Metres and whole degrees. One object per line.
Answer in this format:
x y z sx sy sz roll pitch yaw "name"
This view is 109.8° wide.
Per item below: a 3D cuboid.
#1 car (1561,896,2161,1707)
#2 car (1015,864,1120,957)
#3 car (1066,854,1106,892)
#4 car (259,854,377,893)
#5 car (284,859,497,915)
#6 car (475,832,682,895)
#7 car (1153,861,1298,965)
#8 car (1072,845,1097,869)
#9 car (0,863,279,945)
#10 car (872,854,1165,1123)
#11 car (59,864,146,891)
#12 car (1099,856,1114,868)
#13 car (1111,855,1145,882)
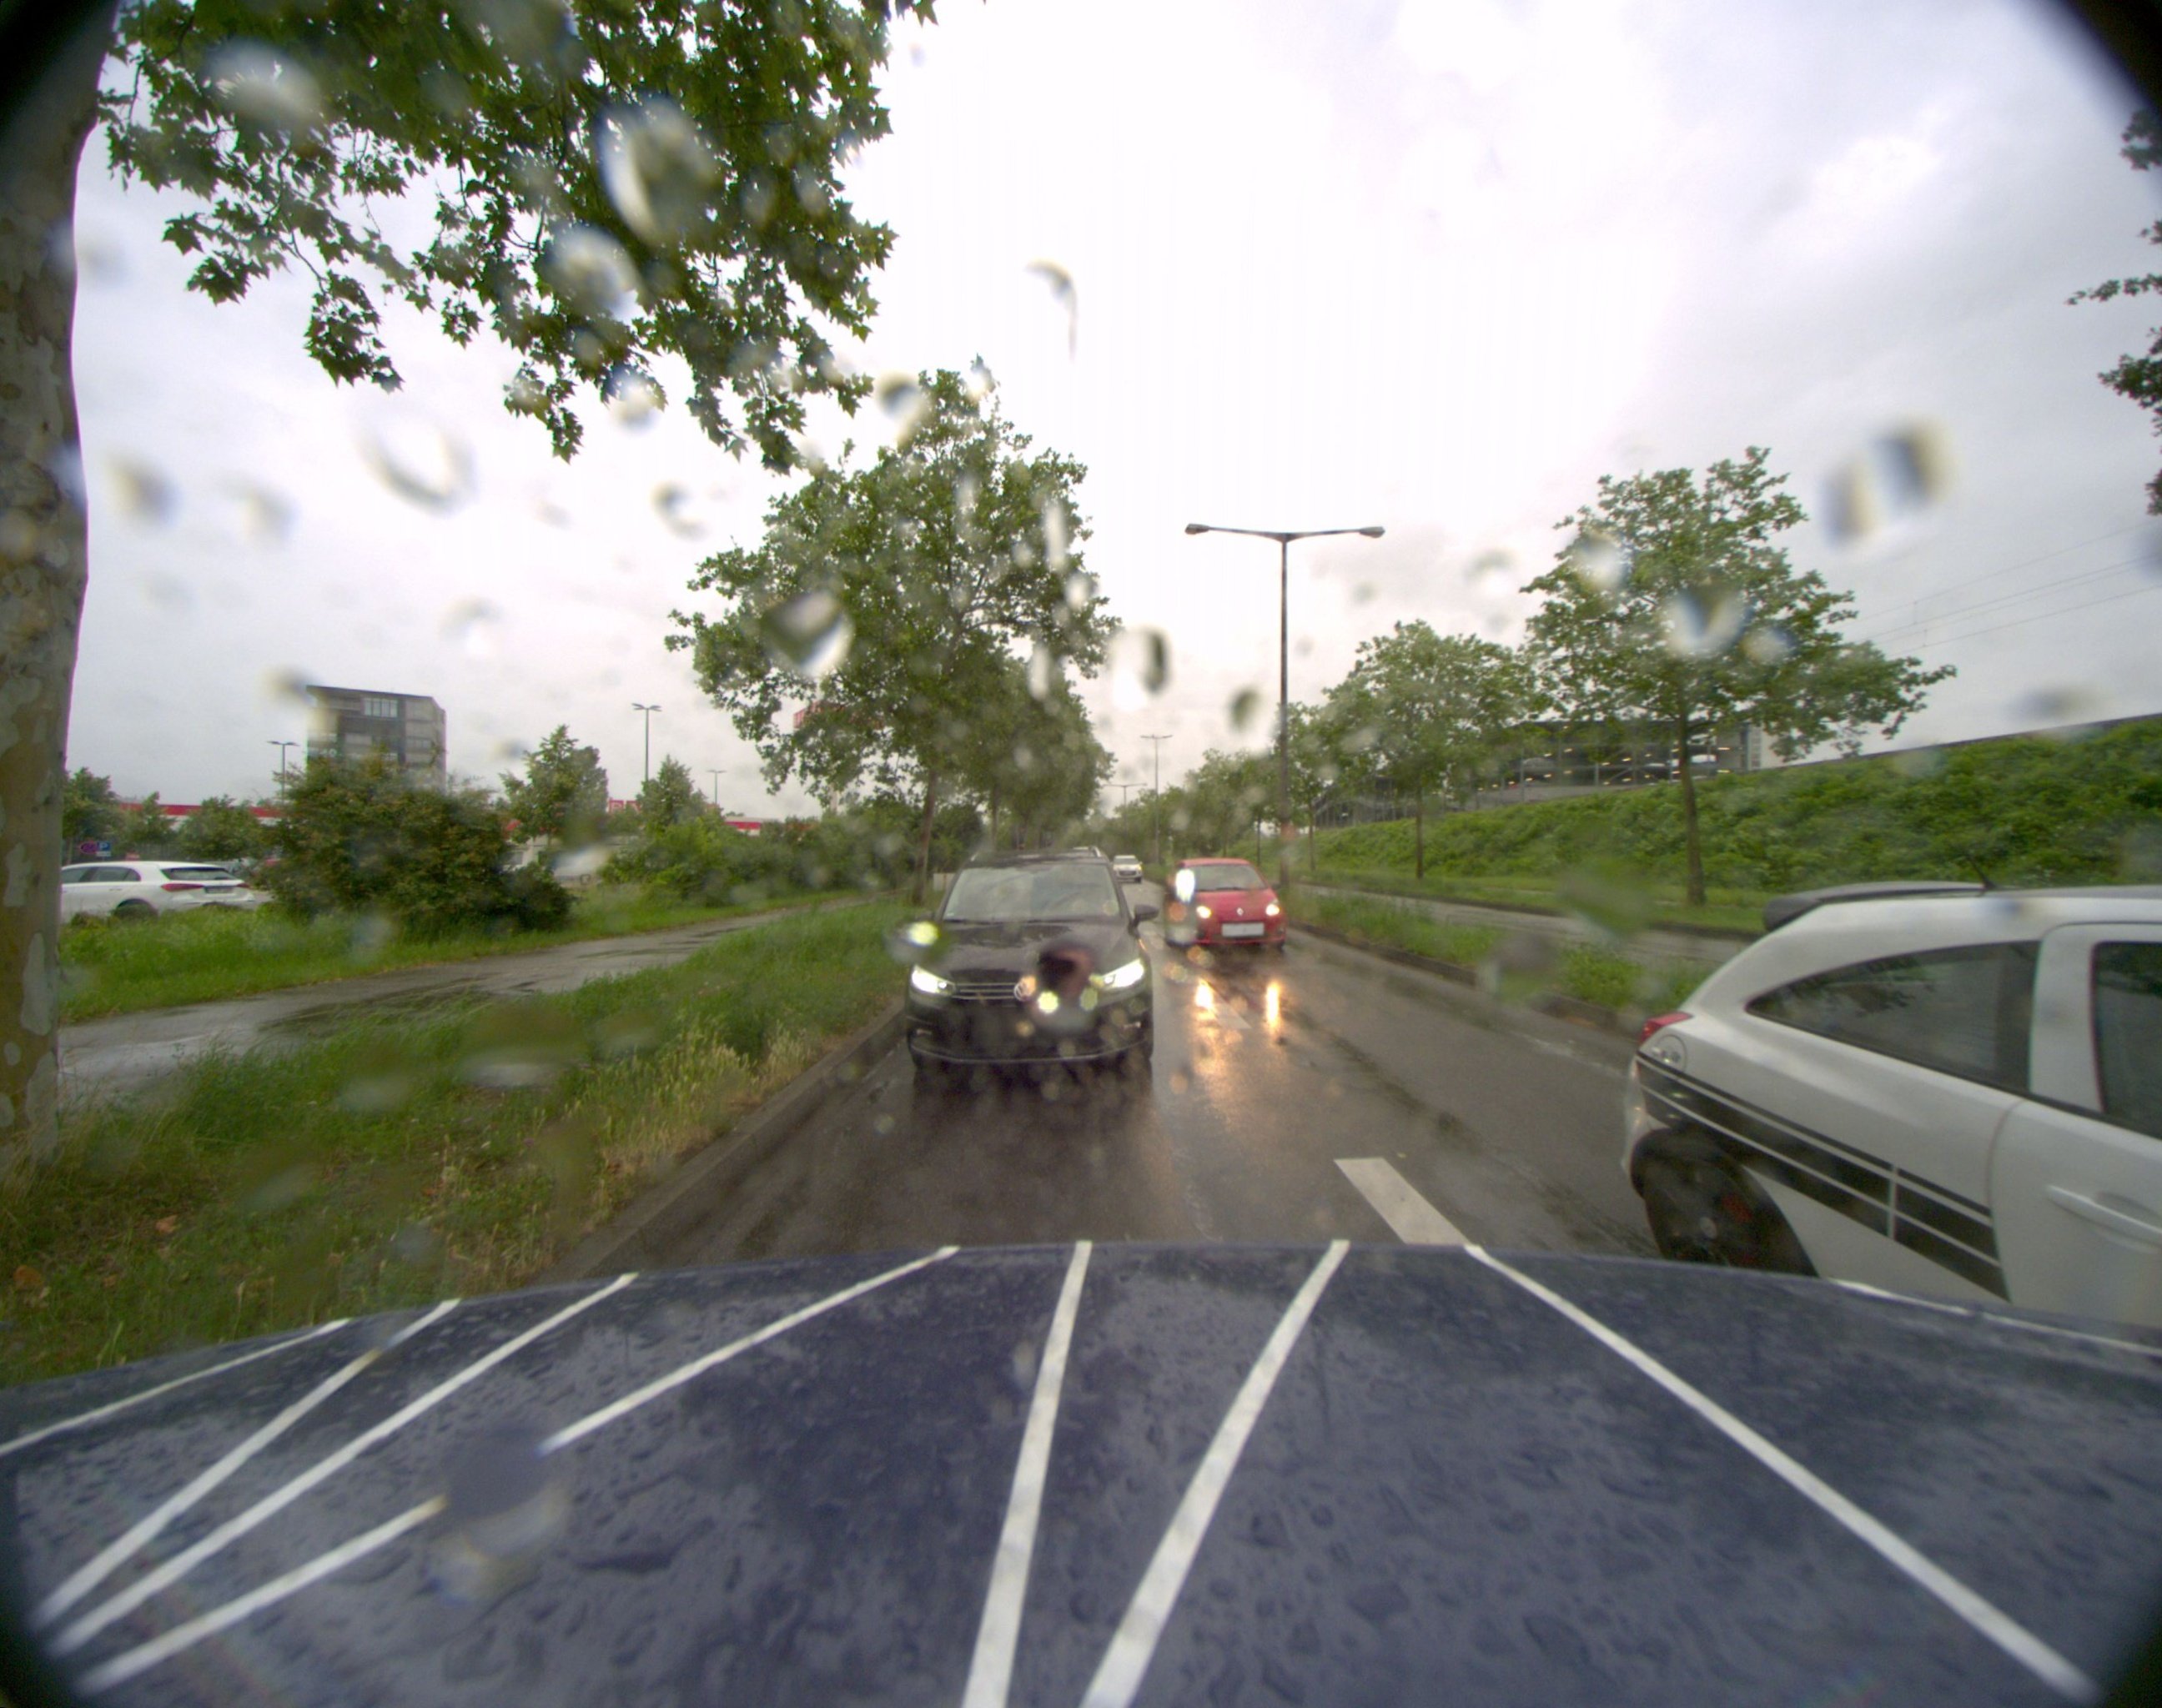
2.755 0.879 0.997 1.683 1.368 4.011 -2 0 0 "car"
-0.227 0.988 14.878 1.724 1.456 4.092 -2 0 0 "car"
0.239 0.916 38.117 1.831 1.737 4.147 -2 0 0 "car"
-38.887 0.961 38.879 4.007 1.718 1.886 -3 1 -38 "car"
-19.938 0.925 22.119 4.272 1.543 1.929 0 0 -4 "car"
-19.657 0.363 30.069 6.425 2.349 2.390 0 0 -8 "car"
2.357 0.902 13.377 1.724 1.456 4.092 -2 0 0 "car"
0.344 0.220 66.581 1.998 2.002 5.132 -2 1 1 "car"
-19.786 0.967 15.649 4.272 1.543 1.929 0 0 -4 "car"
-0.431 0.836 7.055 1.771 1.596 4.626 -2 0 -1 "car"
-61.843 1.438 48.130 1.933 1.543 4.263 0 0 -30 "car"
3.287 0.981 98.987 1.715 1.494 3.999 -2 0 -2 "car"
2.975 0.897 48.450 1.831 1.602 4.147 -2 0 0 "car"
